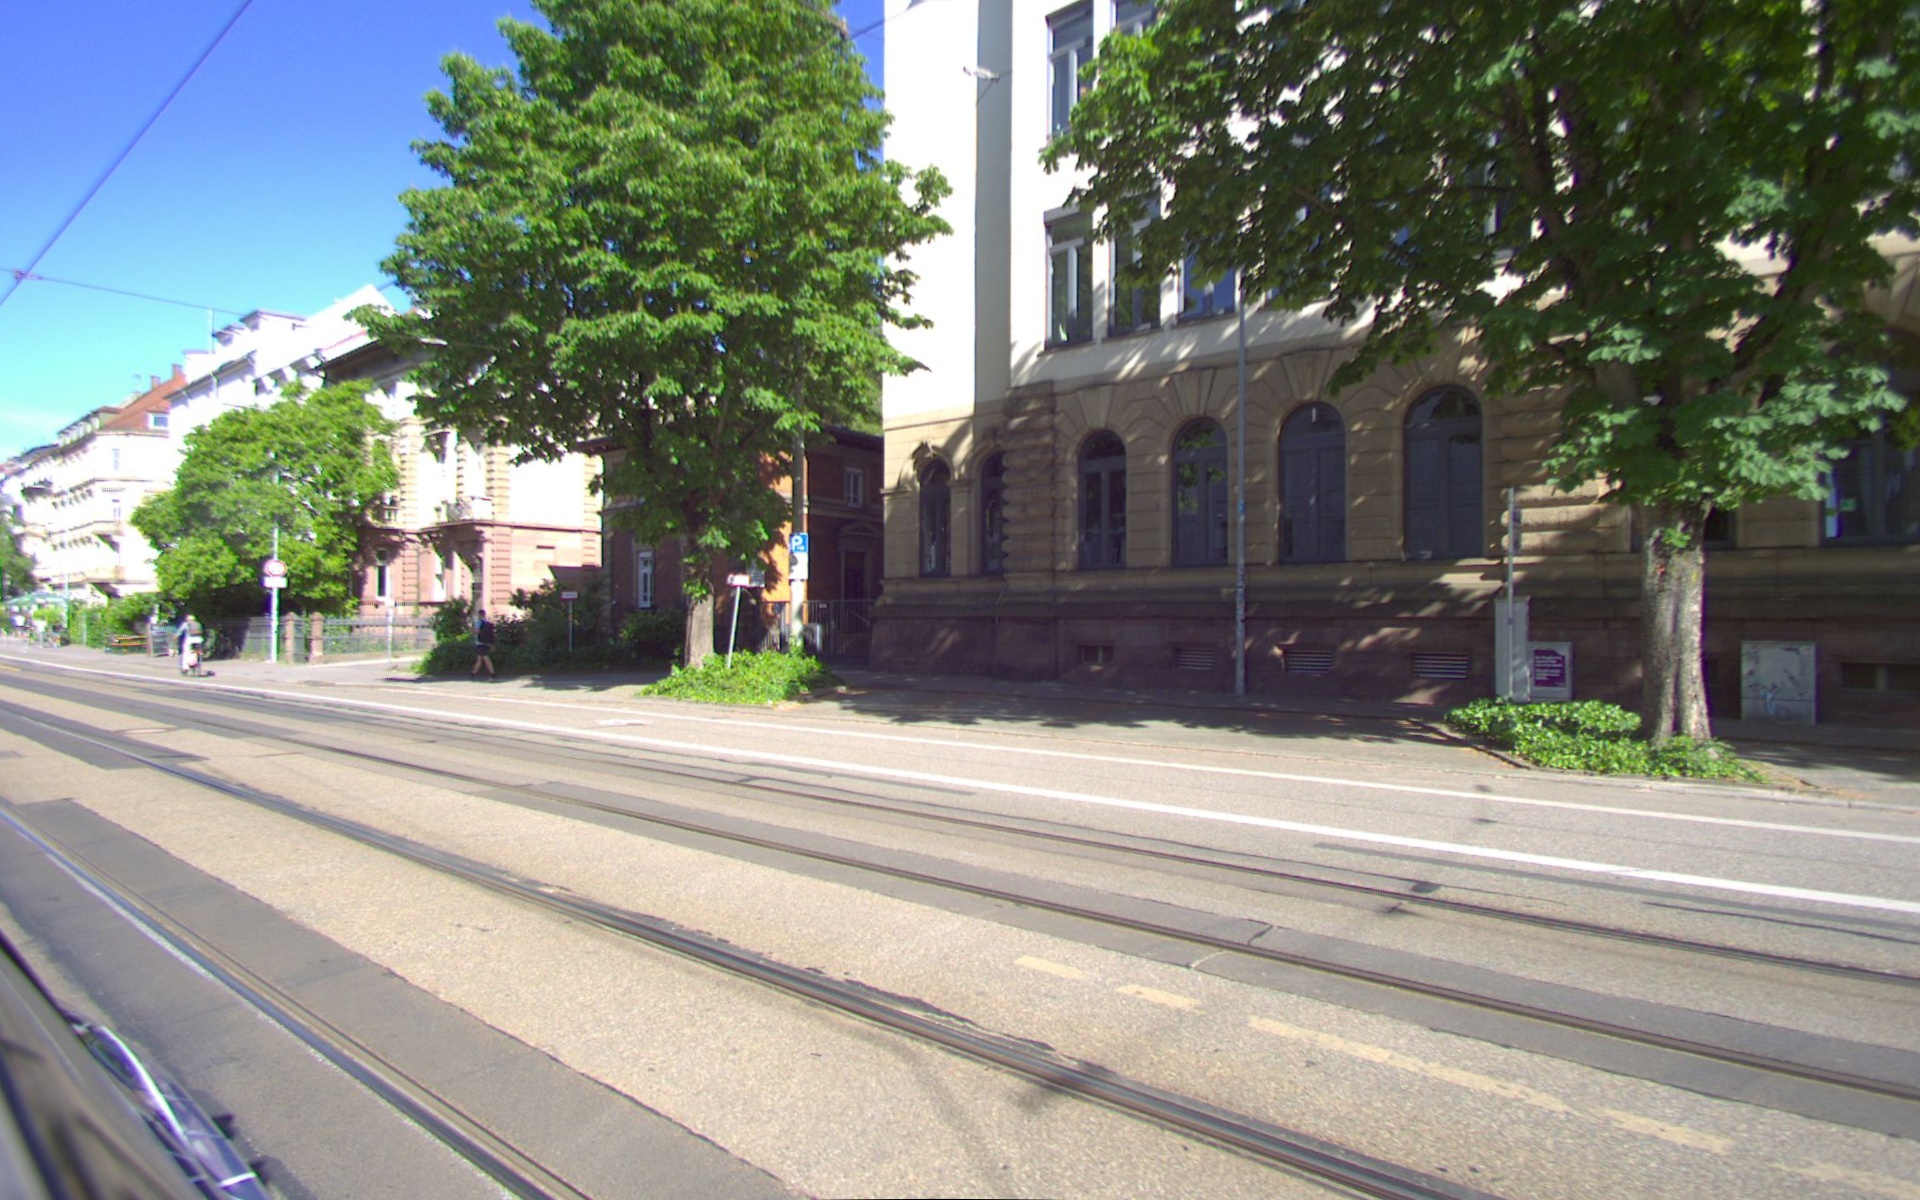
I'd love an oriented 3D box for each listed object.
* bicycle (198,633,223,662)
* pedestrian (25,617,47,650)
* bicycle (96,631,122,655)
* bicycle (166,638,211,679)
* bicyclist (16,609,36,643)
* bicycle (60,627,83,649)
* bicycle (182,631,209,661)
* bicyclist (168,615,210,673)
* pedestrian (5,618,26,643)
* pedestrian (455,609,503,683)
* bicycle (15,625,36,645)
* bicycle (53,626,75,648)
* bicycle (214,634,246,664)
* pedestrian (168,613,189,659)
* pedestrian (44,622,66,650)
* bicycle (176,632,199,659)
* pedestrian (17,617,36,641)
[{"bbox_3d":[-28.880,1.815,38.999,0.582,1.053,1.907,0,-1,-43],"label":"bicycle"},{"bbox_3d":[-49.064,1.794,53.762,0.807,1.727,0.747,-1,0,40],"label":"pedestrian"},{"bbox_3d":[-40.478,2.021,48.116,1.741,1.067,0.632,-1,0,40],"label":"bicycle"},{"bbox_3d":[-22.257,1.680,29.189,1.931,1.133,0.679,-1,-4,43],"label":"bicycle"},{"bbox_3d":[-53.042,1.467,57.464,0.695,1.868,0.988,2,-1,-38],"label":"bicyclist"},{"bbox_3d":[-48.678,2.074,55.462,1.839,1.097,0.655,0,2,40],"label":"bicycle"},{"bbox_3d":[-30.636,1.822,40.551,0.638,1.152,1.907,-1,0,-43],"label":"bicycle"},{"bbox_3d":[-22.263,1.265,29.222,1.237,1.657,0.679,-1,-4,43],"label":"bicyclist"},{"bbox_3d":[-66.859,2.171,71.625,0.683,1.781,0.867,0,-2,-6],"label":"pedestrian"},{"bbox_3d":[-12.193,1.156,25.665,0.773,1.810,0.727,-1,1,18],"label":"pedestrian"},{"bbox_3d":[-53.048,1.972,57.452,0.695,1.063,1.839,2,-1,-38],"label":"bicycle"},{"bbox_3d":[-50.169,2.065,56.664,1.839,1.097,0.655,0,2,40],"label":"bicycle"},{"bbox_3d":[-27.096,1.806,37.544,1.904,1.053,0.583,-1,0,43],"label":"bicycle"},{"bbox_3d":[-31.896,1.459,41.324,0.567,1.845,0.691,1,-2,-32],"label":"pedestrian"},{"bbox_3d":[-48.600,1.940,54.353,0.956,1.489,0.747,-1,0,40],"label":"pedestrian"},{"bbox_3d":[-31.700,1.855,41.531,0.628,1.053,2.027,1,-1,-34],"label":"bicycle"},{"bbox_3d":[-67.064,2.089,72.692,0.694,1.667,0.835,1,-1,-19],"label":"pedestrian"}]
